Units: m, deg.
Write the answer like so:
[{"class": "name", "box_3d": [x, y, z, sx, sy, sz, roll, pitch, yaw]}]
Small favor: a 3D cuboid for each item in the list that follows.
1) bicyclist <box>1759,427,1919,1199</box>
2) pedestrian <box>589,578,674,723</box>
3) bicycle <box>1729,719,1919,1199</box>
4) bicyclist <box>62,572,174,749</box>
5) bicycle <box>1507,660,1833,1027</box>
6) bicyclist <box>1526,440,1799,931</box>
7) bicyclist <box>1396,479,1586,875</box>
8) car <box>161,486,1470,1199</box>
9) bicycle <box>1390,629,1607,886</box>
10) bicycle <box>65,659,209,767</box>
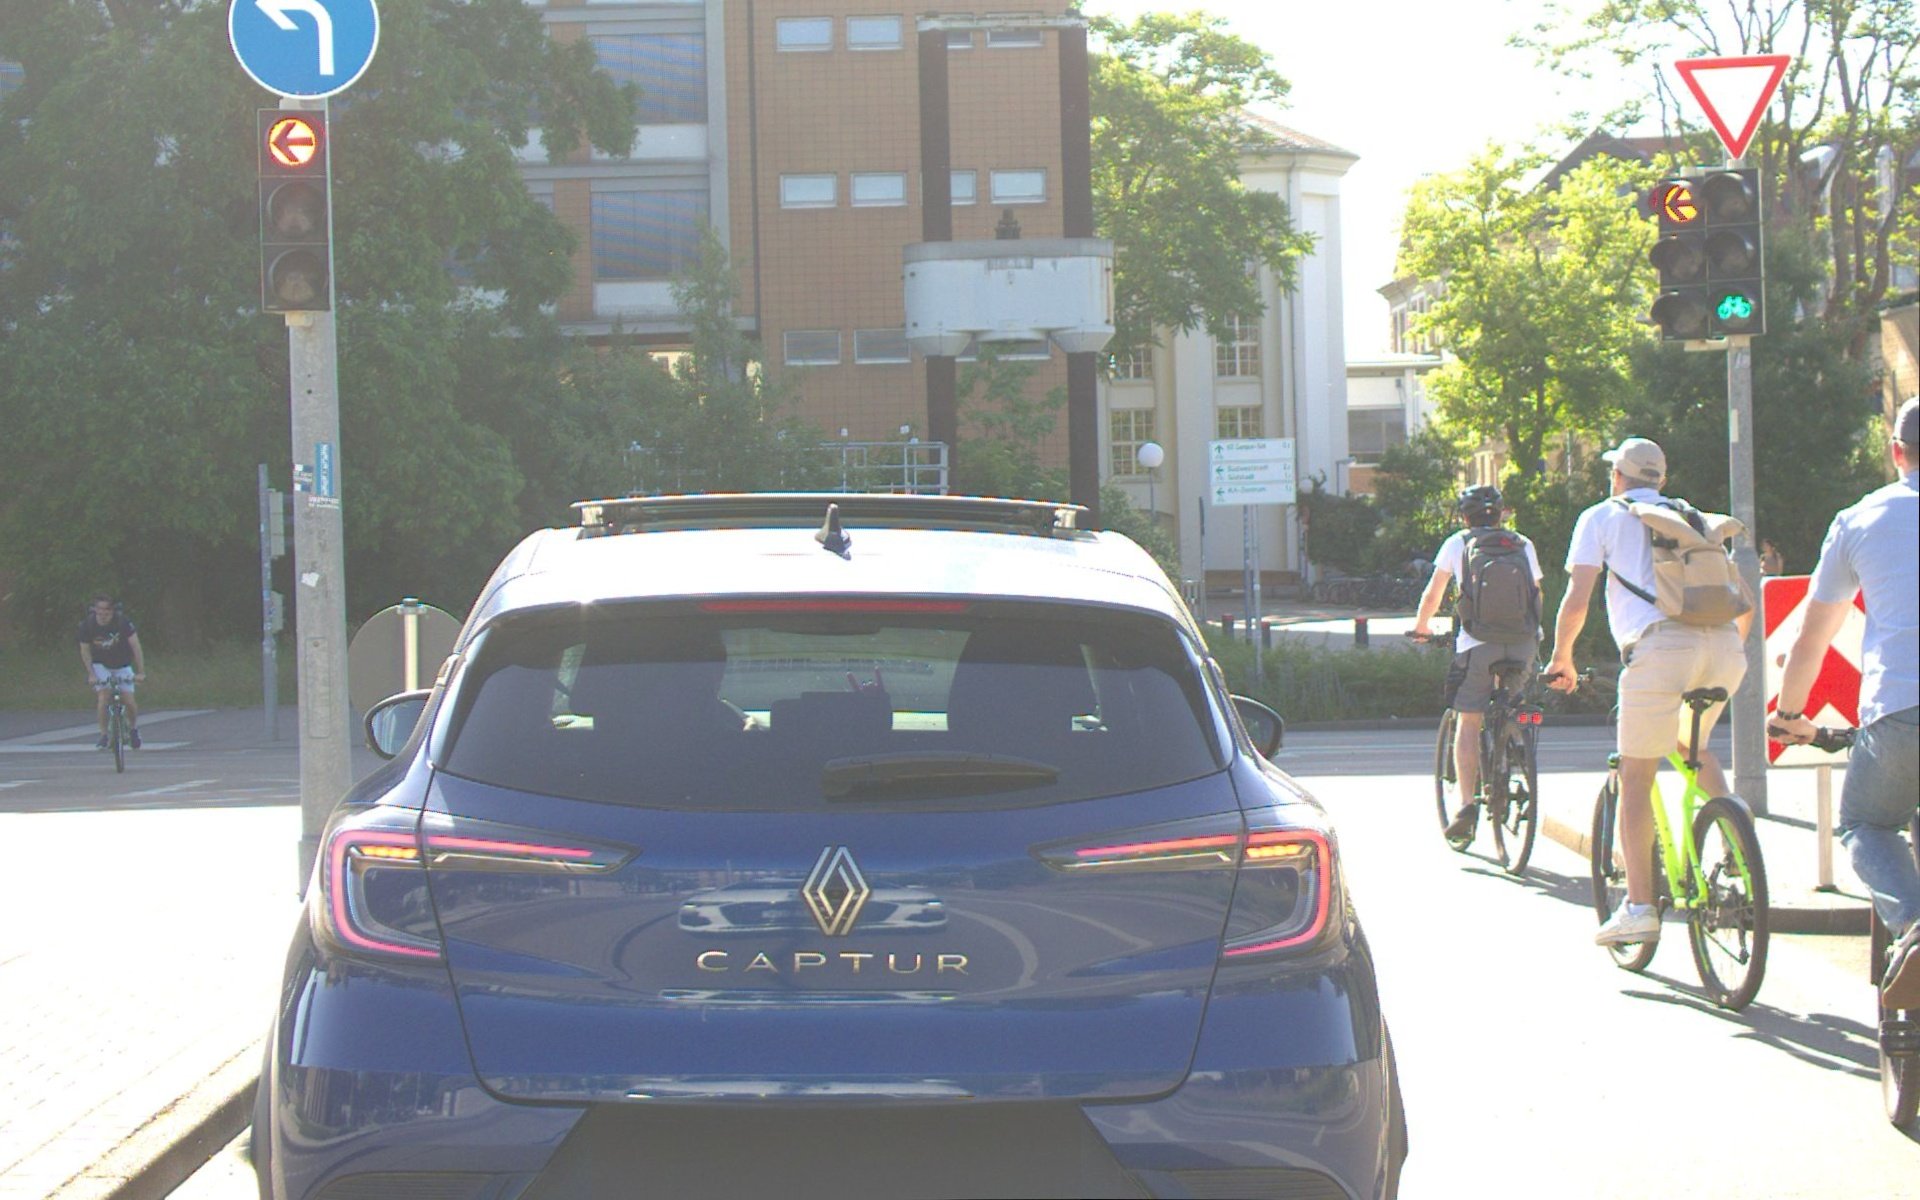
[{"class": "bicyclist", "box_3d": [2.395, 0.500, 8.237, 0.683, 1.785, 1.142, 0, 1, -1]}, {"class": "pedestrian", "box_3d": [-4.291, 0.652, 44.931, 0.814, 1.856, 0.909, -1, 1, 13]}, {"class": "bicycle", "box_3d": [2.402, 0.871, 8.192, 0.689, 1.085, 1.922, 0, 1, -1]}, {"class": "bicyclist", "box_3d": [-8.322, 0.587, 34.016, 0.755, 1.710, 0.998, -1, 1, 5]}, {"class": "bicycle", "box_3d": [2.364, 0.776, 11.671, 0.689, 1.085, 1.922, 0, 1, -1]}, {"class": "bicyclist", "box_3d": [2.369, 0.269, 11.705, 0.678, 1.589, 1.142, 0, 1, -1]}, {"class": "bicyclist", "box_3d": [2.470, 0.341, 16.095, 0.699, 1.785, 1.142, 0, 1, -1]}, {"class": "car", "box_3d": [-0.275, 0.611, 6.664, 1.788, 1.580, 3.915, 0, 1, -2]}, {"class": "bicycle", "box_3d": [2.480, 0.697, 16.022, 0.689, 1.085, 1.922, 0, 1, -1]}, {"class": "bicycle", "box_3d": [-8.256, 1.118, 34.560, 0.755, 0.981, 2.093, -1, 1, 5]}]
